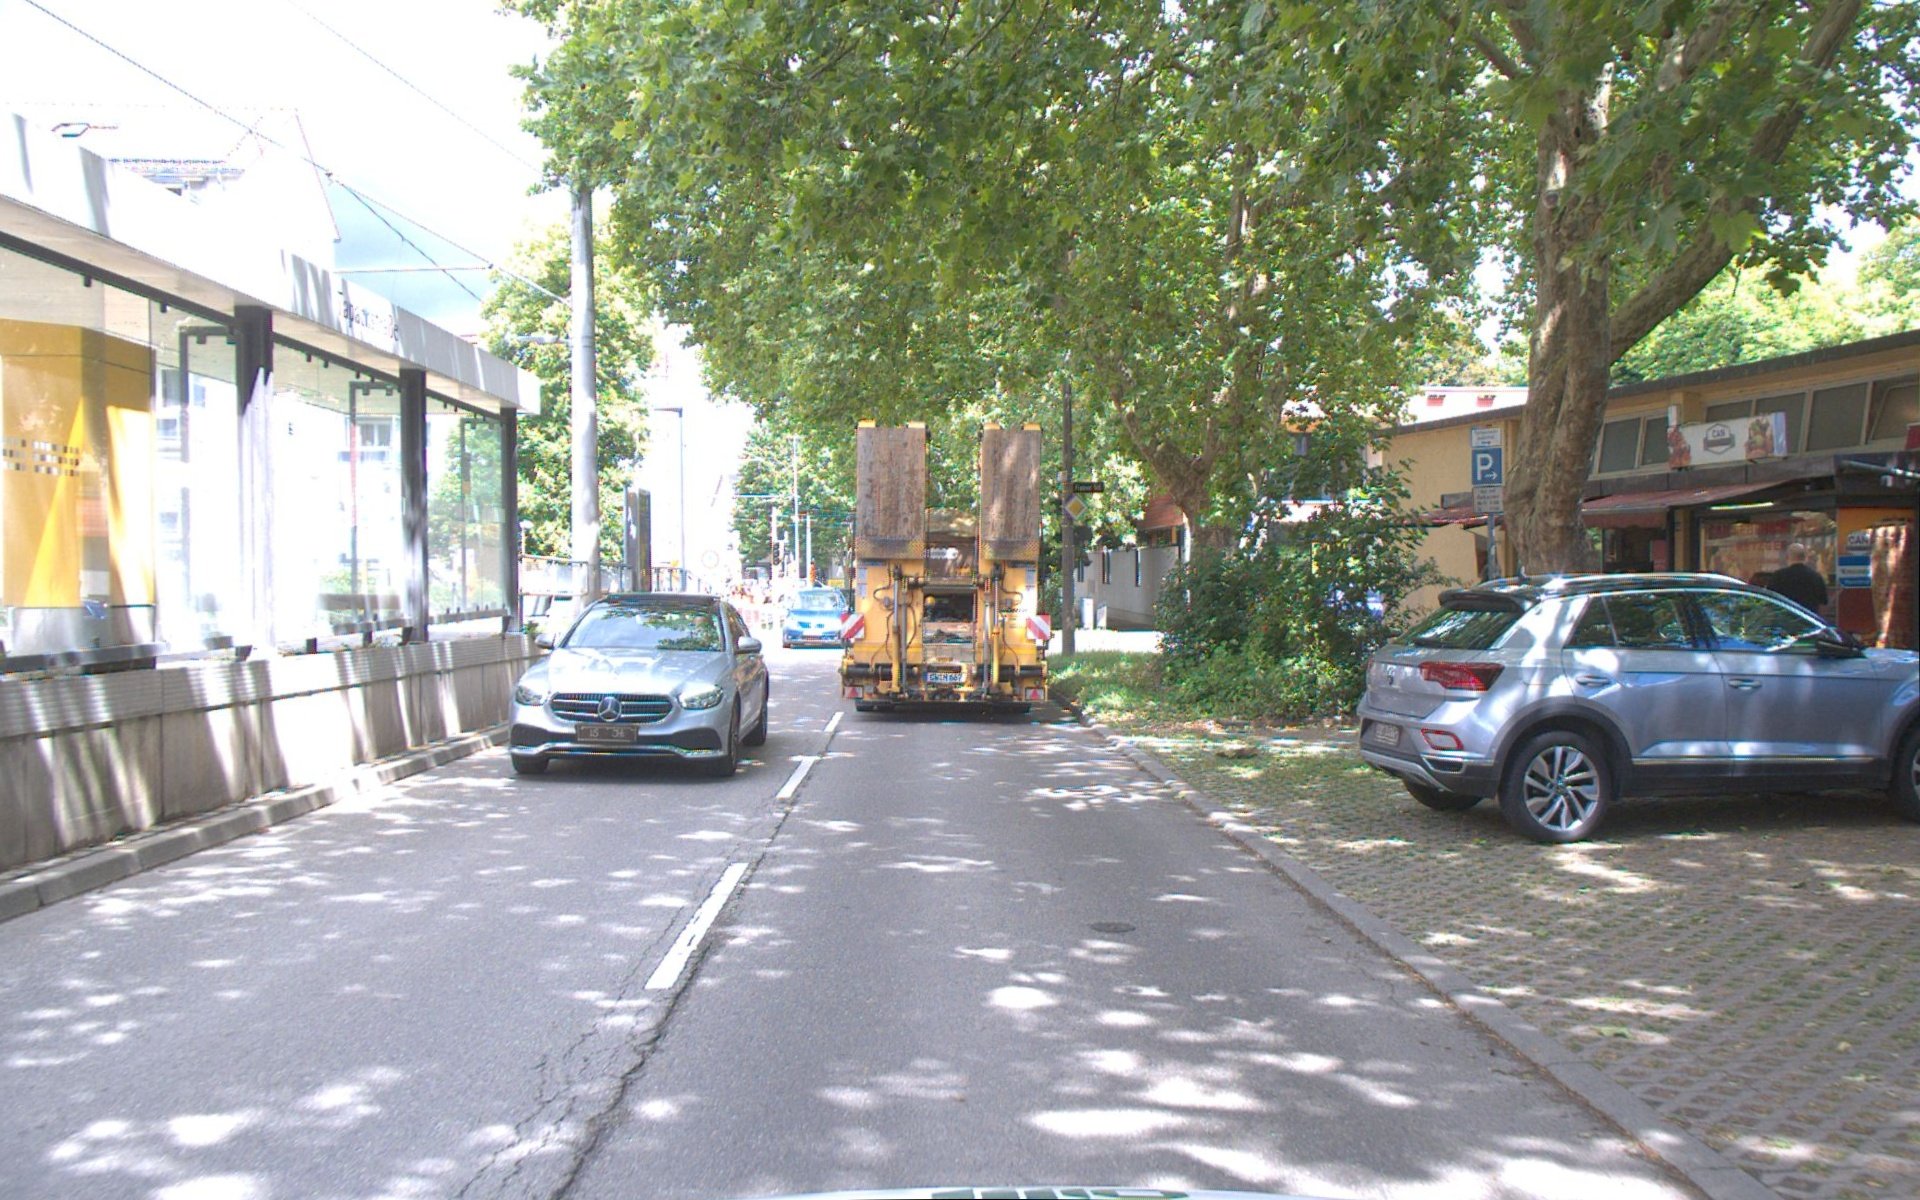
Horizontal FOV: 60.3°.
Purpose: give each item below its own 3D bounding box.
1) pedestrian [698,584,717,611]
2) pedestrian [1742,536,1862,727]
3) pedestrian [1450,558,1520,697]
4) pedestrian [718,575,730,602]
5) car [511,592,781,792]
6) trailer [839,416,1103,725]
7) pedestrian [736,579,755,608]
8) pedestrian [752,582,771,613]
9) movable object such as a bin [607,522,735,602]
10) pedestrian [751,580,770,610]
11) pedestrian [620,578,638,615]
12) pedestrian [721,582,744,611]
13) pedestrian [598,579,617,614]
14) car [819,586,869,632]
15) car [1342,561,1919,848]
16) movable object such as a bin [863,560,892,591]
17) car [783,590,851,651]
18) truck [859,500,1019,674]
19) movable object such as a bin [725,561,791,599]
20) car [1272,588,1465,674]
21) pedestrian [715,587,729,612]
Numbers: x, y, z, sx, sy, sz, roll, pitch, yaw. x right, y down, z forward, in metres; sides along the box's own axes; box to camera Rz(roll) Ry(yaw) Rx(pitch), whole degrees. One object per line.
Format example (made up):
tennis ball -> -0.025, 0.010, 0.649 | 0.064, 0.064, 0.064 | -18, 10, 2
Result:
pedestrian -> -15.742, -0.185, 103.051 | 0.877, 1.673, 0.890 | 0, 0, -32
pedestrian -> 8.007, 0.287, 15.740 | 0.744, 1.755, 0.658 | -2, 0, -6
pedestrian -> 6.594, 0.341, 20.806 | 0.611, 1.705, 0.771 | -1, 0, -1
pedestrian -> -16.721, -0.807, 117.167 | 0.820, 1.900, 0.885 | 0, 0, -13
car -> -2.686, 0.706, 15.147 | 1.727, 1.507, 4.575 | 1, 0, -2
trailer -> -0.126, -0.376, 25.026 | 3.091, 3.614, 11.091 | 0, 0, -3
pedestrian -> -13.201, -0.418, 101.644 | 0.867, 1.791, 0.837 | 1, 0, 18
pedestrian -> -12.360, -0.148, 103.058 | 0.876, 1.900, 0.829 | 0, 0, -30
movable object such as a bin -> -20.418, -2.662, 116.553 | 9.020, 5.509, 2.662 | 0, 0, 25
pedestrian -> -12.744, -0.337, 105.467 | 0.868, 1.900, 0.836 | 1, 0, 27
pedestrian -> -15.808, -0.161, 79.008 | 0.685, 1.748, 0.867 | 1, 0, -1
pedestrian -> -14.219, -0.218, 103.323 | 0.873, 1.745, 1.103 | 1, 0, 44
pedestrian -> -16.763, -0.150, 78.685 | 0.717, 1.654, 0.867 | 0, 0, -1
car -> -4.404, 0.305, 63.066 | 1.718, 1.662, 4.117 | 1, 0, -2
car -> 4.585, 0.592, 10.736 | 3.758, 1.589, 1.617 | -2, 0, -9
movable object such as a bin -> -5.414, -1.618, 108.990 | 1.369, 2.049, 2.558 | 1, 0, 9
car -> -3.888, 0.542, 45.496 | 1.662, 1.592, 3.859 | 0, 0, -2
truck -> -0.587, -0.266, 34.478 | 2.930, 3.190, 7.883 | 0, 0, -3
movable object such as a bin -> -14.806, -1.467, 121.290 | 4.280, 2.675, 2.219 | 0, 0, 25
car -> 10.036, 0.730, 40.811 | 4.103, 1.710, 2.009 | -4, 2, -10
pedestrian -> -15.720, -0.026, 109.192 | 0.870, 1.673, 0.835 | 0, 0, -12
